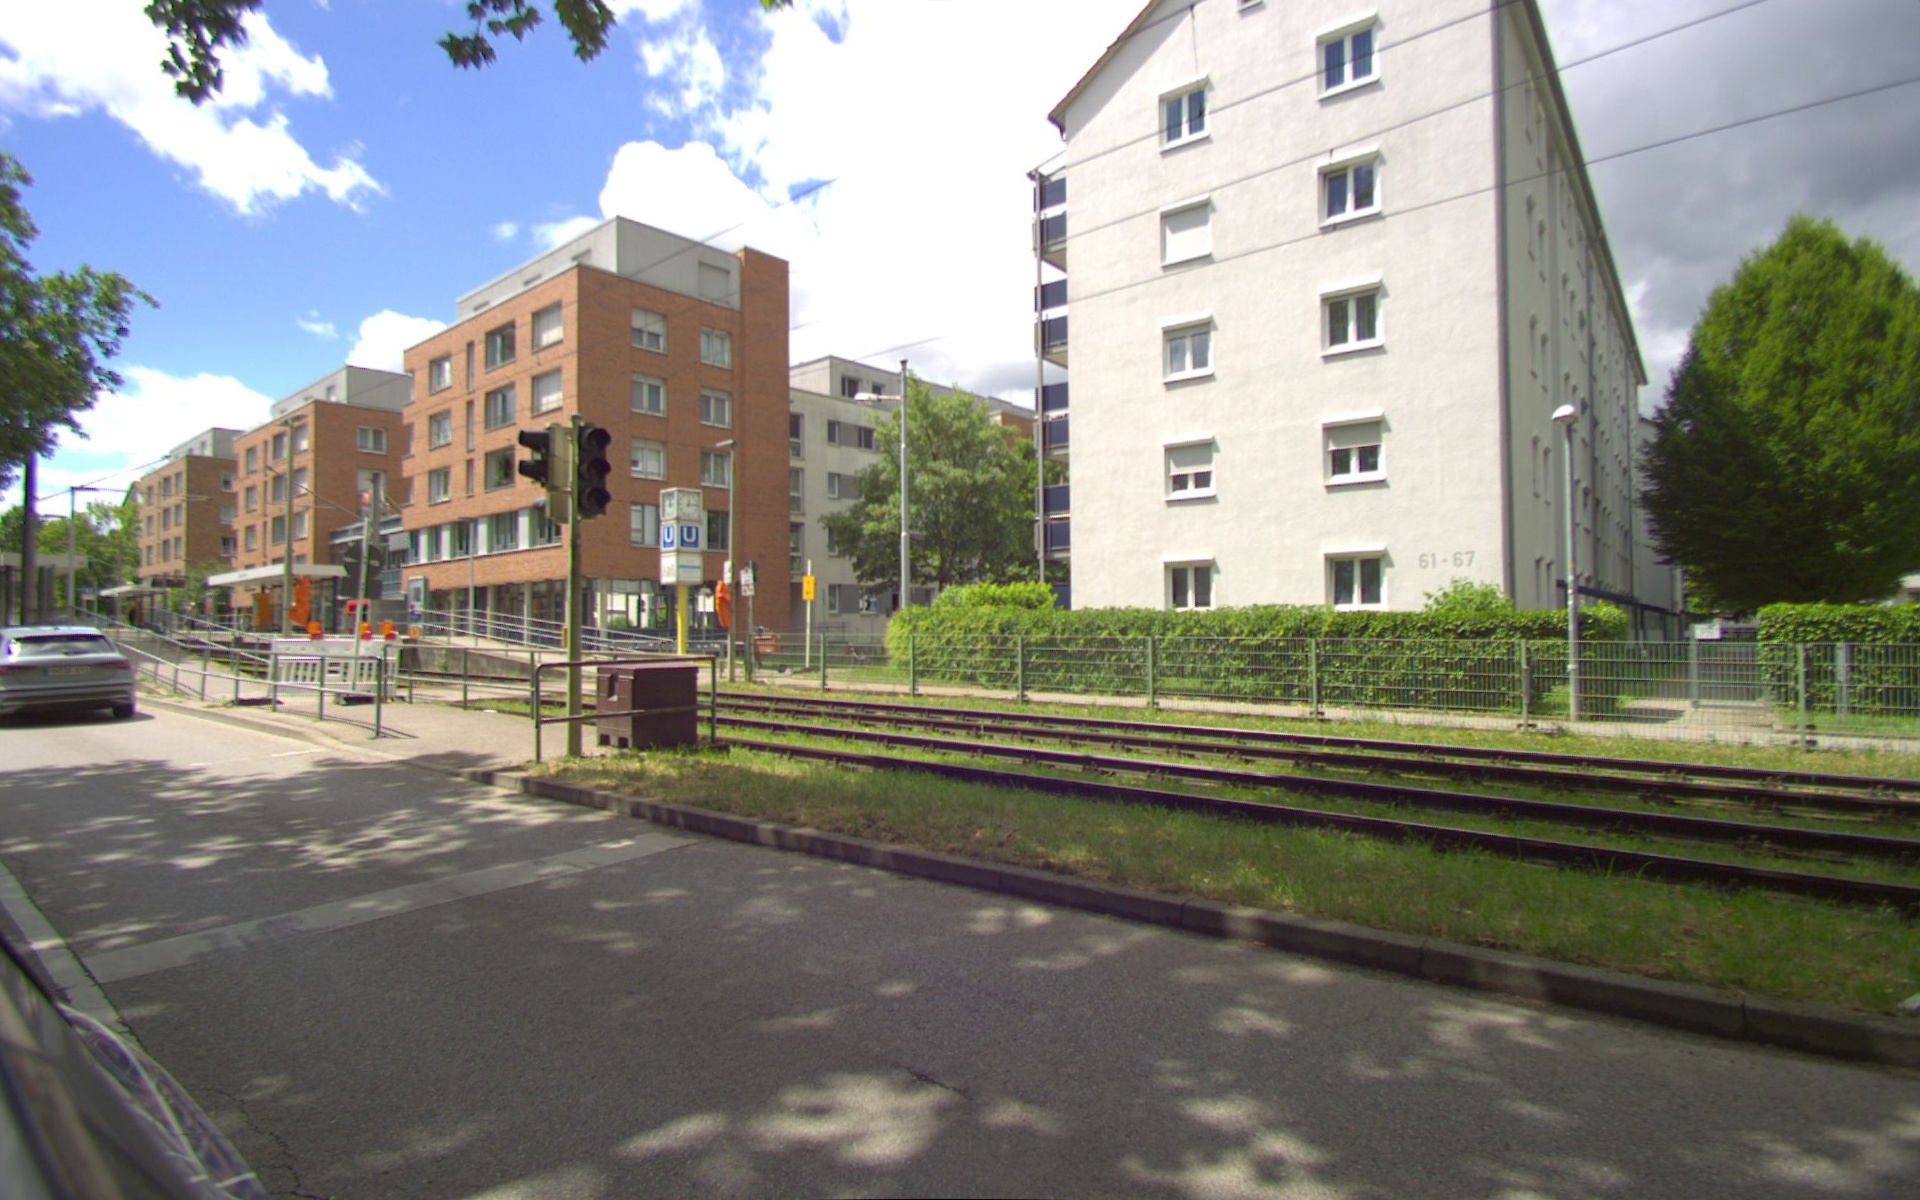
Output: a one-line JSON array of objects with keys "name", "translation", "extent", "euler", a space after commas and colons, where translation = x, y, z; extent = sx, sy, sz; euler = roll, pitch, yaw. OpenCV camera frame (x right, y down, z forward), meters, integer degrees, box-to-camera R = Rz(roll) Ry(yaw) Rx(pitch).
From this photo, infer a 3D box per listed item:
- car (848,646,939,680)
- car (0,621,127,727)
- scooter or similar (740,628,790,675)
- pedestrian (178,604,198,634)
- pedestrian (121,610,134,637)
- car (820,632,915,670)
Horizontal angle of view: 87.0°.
[{"name": "car", "translation": [-2.984, 2.765, 44.907], "extent": [4.002, 1.437, 1.822], "euler": [-2, -3, 45]}, {"name": "car", "translation": [-14.308, 1.074, 15.548], "extent": [3.847, 1.446, 1.619], "euler": [-2, -2, 39]}, {"name": "scooter or similar", "translation": [-5.377, 1.420, 27.908], "extent": [1.280, 1.263, 0.466], "euler": [2, -3, -40]}, {"name": "pedestrian", "translation": [-42.652, 1.024, 55.901], "extent": [0.815, 1.641, 0.743], "euler": [-2, -1, 41]}, {"name": "pedestrian", "translation": [-56.121, 1.583, 68.230], "extent": [0.527, 1.777, 0.529], "euler": [-1, -2, 38]}, {"name": "car", "translation": [-3.957, 2.147, 43.031], "extent": [4.000, 1.564, 1.874], "euler": [-2, -3, 43]}]
